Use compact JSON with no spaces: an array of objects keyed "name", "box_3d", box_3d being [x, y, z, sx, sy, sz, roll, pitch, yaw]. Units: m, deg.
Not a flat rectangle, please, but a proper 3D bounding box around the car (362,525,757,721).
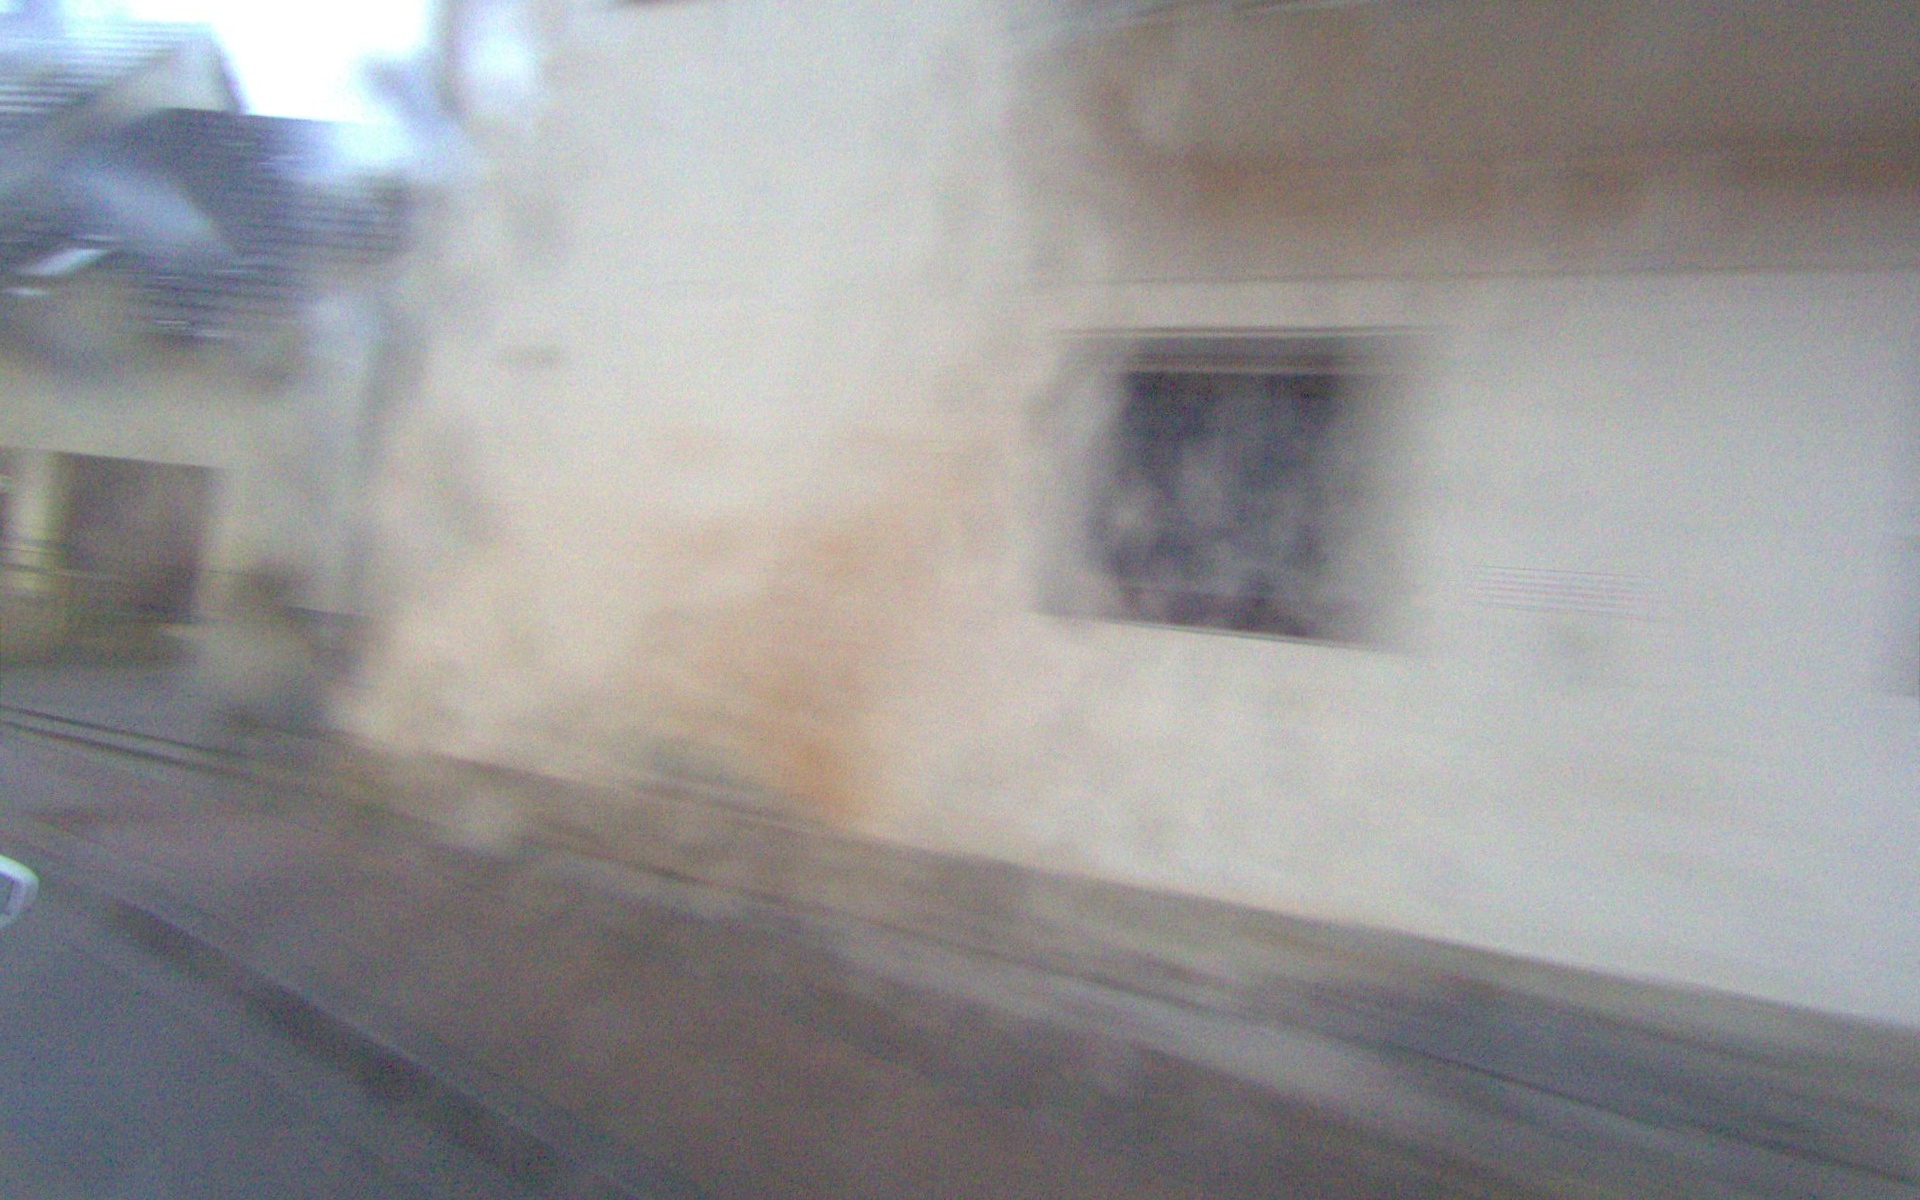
[{"name":"car","box_3d":[-3.889,0.244,10.355,1.620,1.525,3.486,7,1,26]}]
